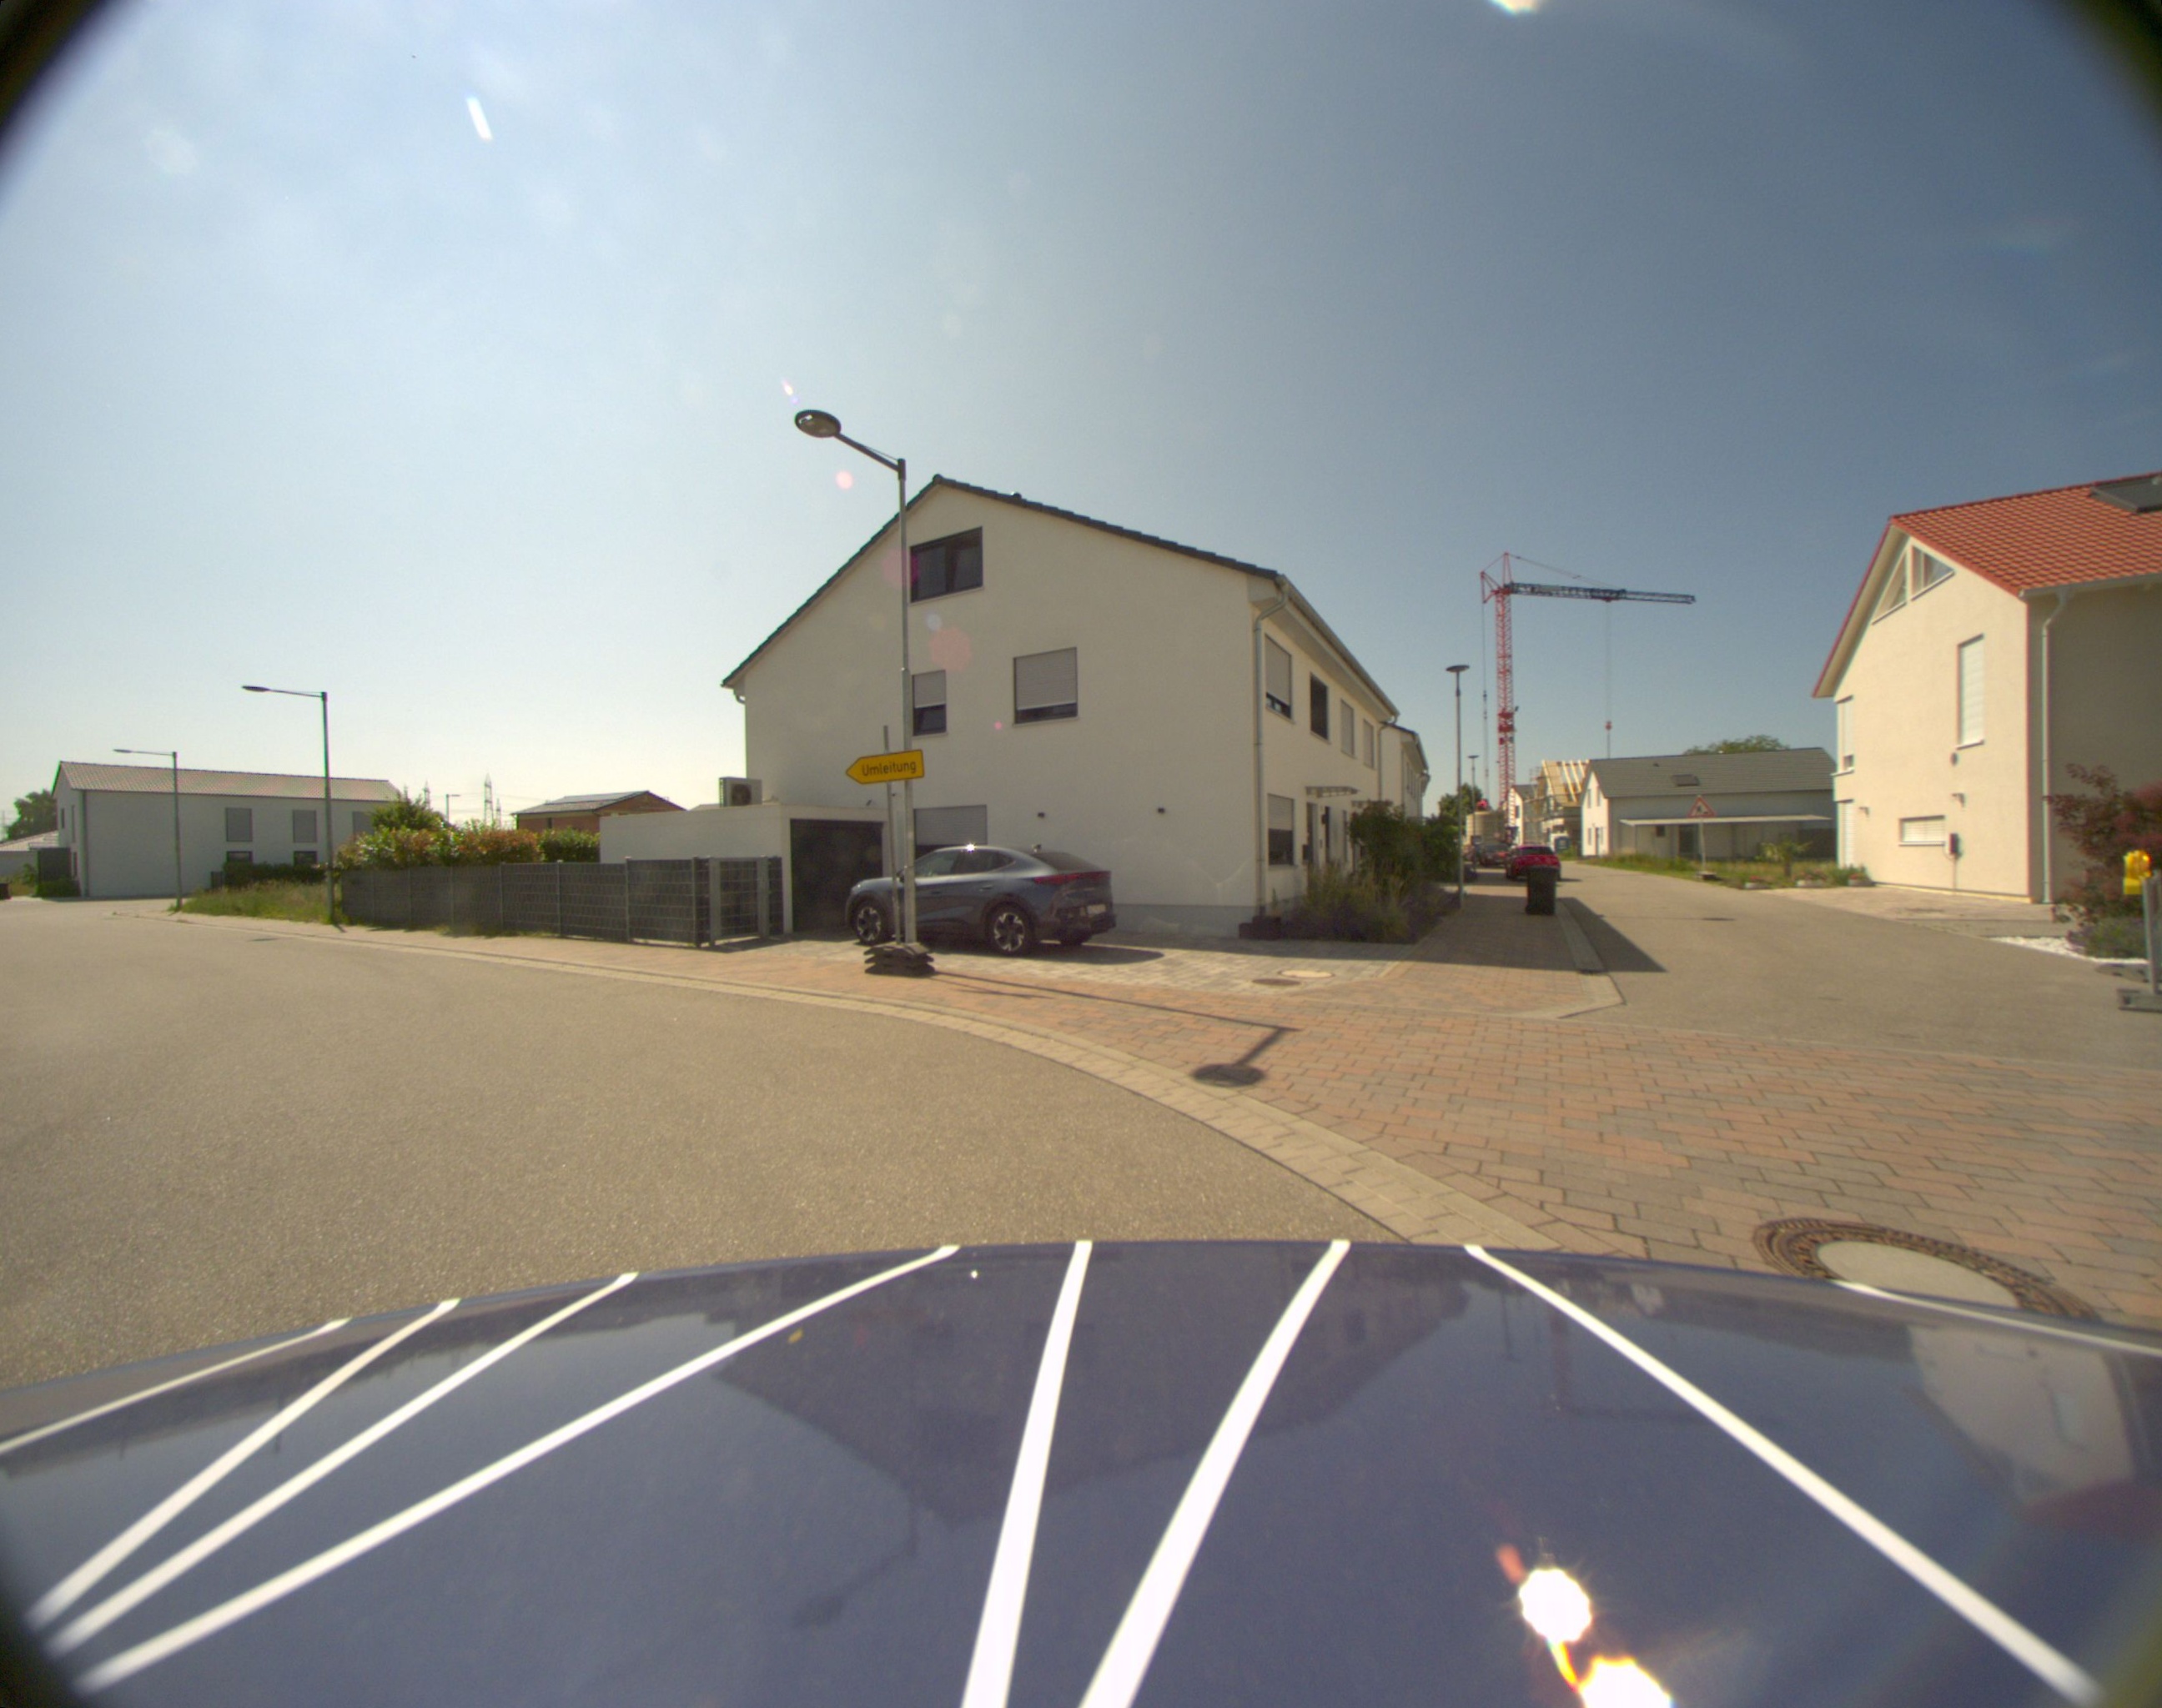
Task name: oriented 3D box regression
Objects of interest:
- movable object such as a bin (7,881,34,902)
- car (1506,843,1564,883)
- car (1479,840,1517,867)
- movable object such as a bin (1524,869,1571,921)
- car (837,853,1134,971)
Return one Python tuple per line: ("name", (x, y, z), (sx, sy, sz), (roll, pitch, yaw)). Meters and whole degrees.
("movable object such as a bin", (-58.176, 2.060, 41.676), (0.670, 1.092, 0.809), (-1, 1, 34))
("car", (18.815, 0.338, 31.634), (1.907, 1.470, 4.007), (-1, 1, 29))
("car", (27.100, -0.061, 49.509), (1.799, 1.609, 3.681), (-1, 1, 23))
("movable object such as a bin", (9.898, 0.860, 16.149), (0.822, 1.058, 0.591), (-1, 2, 29))
("car", (-1.558, 0.795, 11.929), (4.339, 1.549, 1.964), (-1, 0, 31))
